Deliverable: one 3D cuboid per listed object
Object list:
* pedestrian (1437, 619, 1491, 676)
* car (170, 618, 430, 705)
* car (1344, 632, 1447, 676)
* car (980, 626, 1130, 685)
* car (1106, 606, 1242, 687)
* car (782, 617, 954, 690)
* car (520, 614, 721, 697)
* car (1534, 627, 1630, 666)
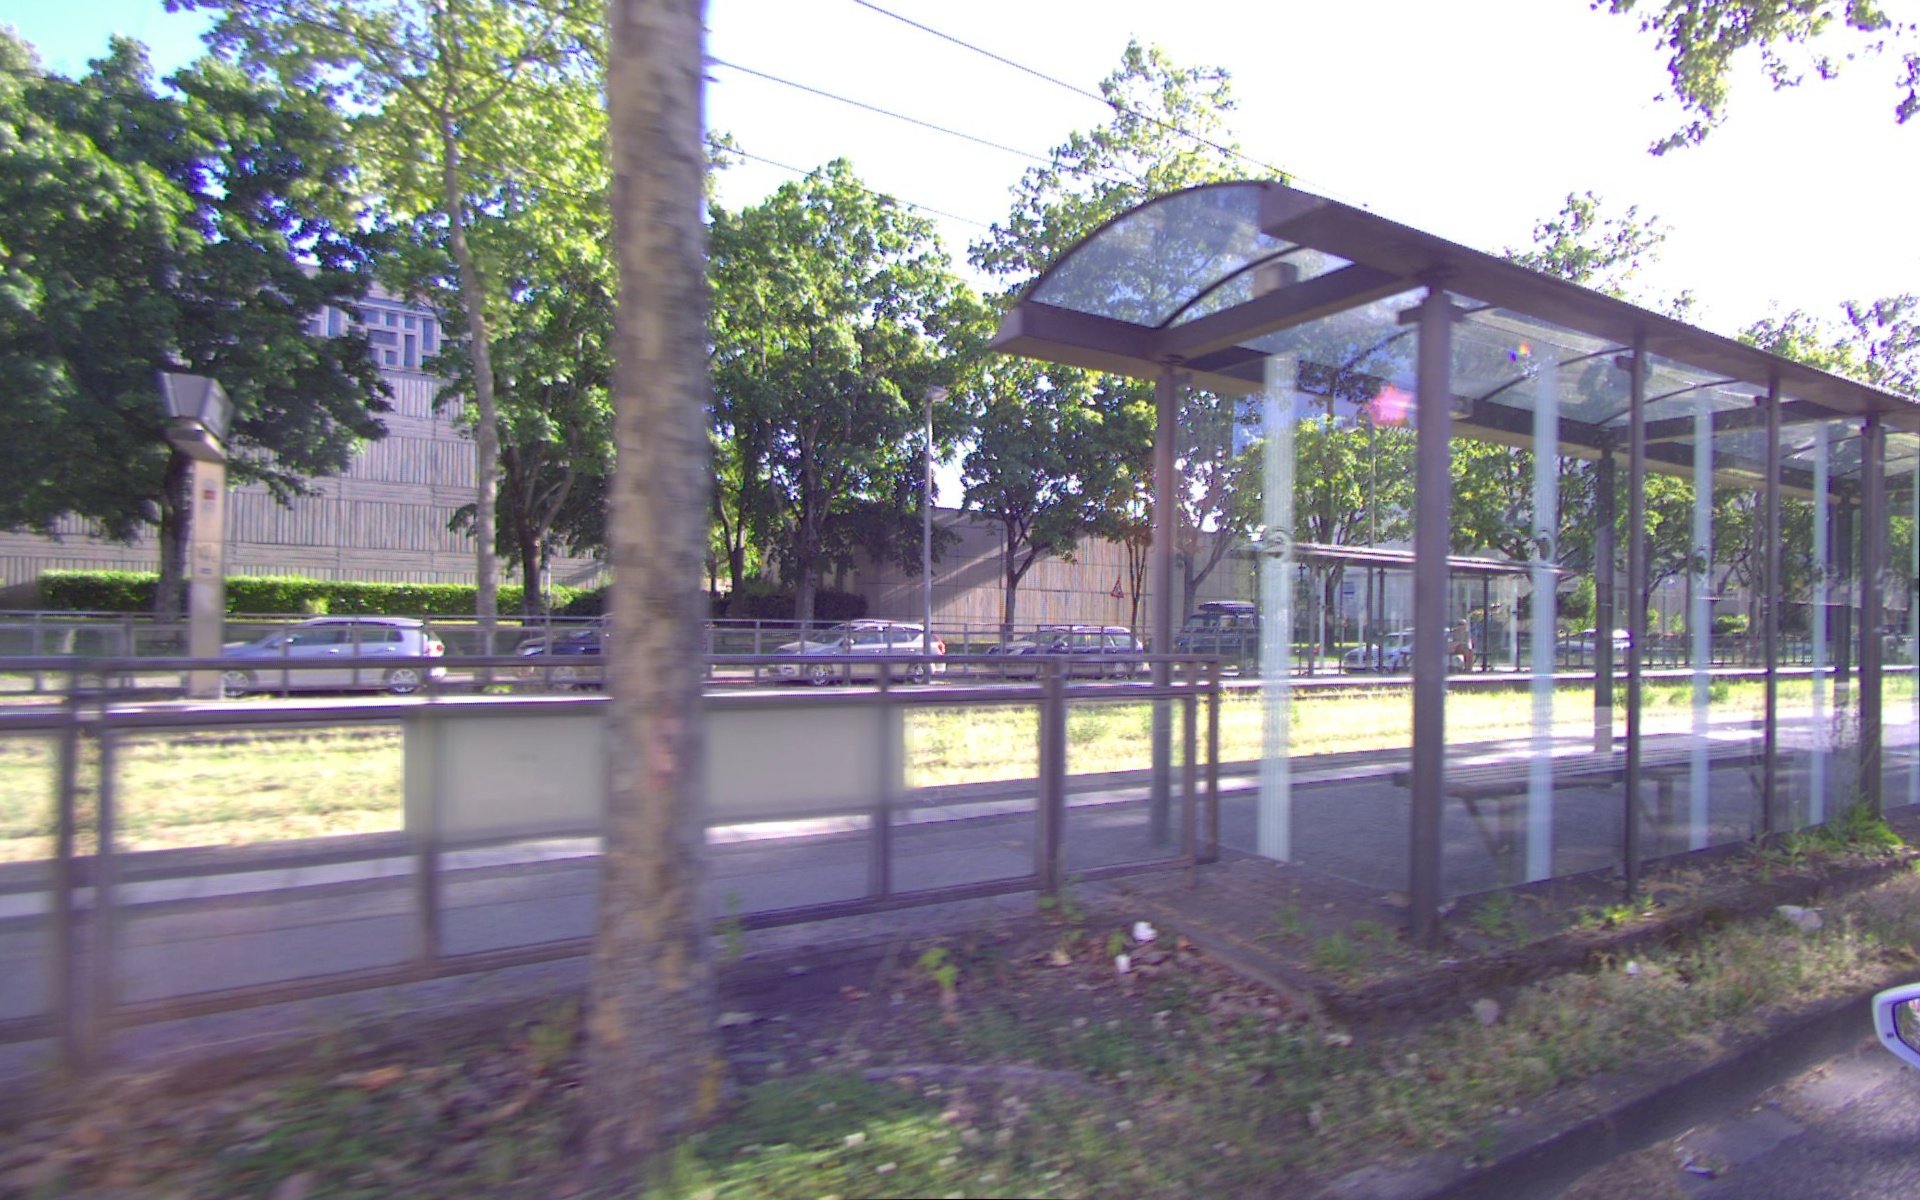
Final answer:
[{"bbox_3d":[11.713,1.097,23.371,0.784,1.277,0.840,2,0,-2],"label":"pedestrian"},{"bbox_3d":[-12.098,1.105,18.708,3.883,1.464,1.586,1,-1,-30],"label":"car"},{"bbox_3d":[13.494,1.644,31.088,3.338,1.258,1.256,1,-1,-32],"label":"car"},{"bbox_3d":[2.640,1.497,27.600,3.974,1.508,1.586,1,-1,-32],"label":"car"},{"bbox_3d":[6.433,1.355,30.082,3.889,2.292,1.705,1,-1,-31],"label":"car"},{"bbox_3d":[-2.224,1.276,24.581,3.885,1.658,1.586,1,-1,-31],"label":"car"},{"bbox_3d":[-7.299,1.162,21.668,3.883,1.654,1.586,1,-1,-30],"label":"car"},{"bbox_3d":[26.573,1.971,42.894,4.150,1.566,1.706,1,-1,-30],"label":"car"}]
